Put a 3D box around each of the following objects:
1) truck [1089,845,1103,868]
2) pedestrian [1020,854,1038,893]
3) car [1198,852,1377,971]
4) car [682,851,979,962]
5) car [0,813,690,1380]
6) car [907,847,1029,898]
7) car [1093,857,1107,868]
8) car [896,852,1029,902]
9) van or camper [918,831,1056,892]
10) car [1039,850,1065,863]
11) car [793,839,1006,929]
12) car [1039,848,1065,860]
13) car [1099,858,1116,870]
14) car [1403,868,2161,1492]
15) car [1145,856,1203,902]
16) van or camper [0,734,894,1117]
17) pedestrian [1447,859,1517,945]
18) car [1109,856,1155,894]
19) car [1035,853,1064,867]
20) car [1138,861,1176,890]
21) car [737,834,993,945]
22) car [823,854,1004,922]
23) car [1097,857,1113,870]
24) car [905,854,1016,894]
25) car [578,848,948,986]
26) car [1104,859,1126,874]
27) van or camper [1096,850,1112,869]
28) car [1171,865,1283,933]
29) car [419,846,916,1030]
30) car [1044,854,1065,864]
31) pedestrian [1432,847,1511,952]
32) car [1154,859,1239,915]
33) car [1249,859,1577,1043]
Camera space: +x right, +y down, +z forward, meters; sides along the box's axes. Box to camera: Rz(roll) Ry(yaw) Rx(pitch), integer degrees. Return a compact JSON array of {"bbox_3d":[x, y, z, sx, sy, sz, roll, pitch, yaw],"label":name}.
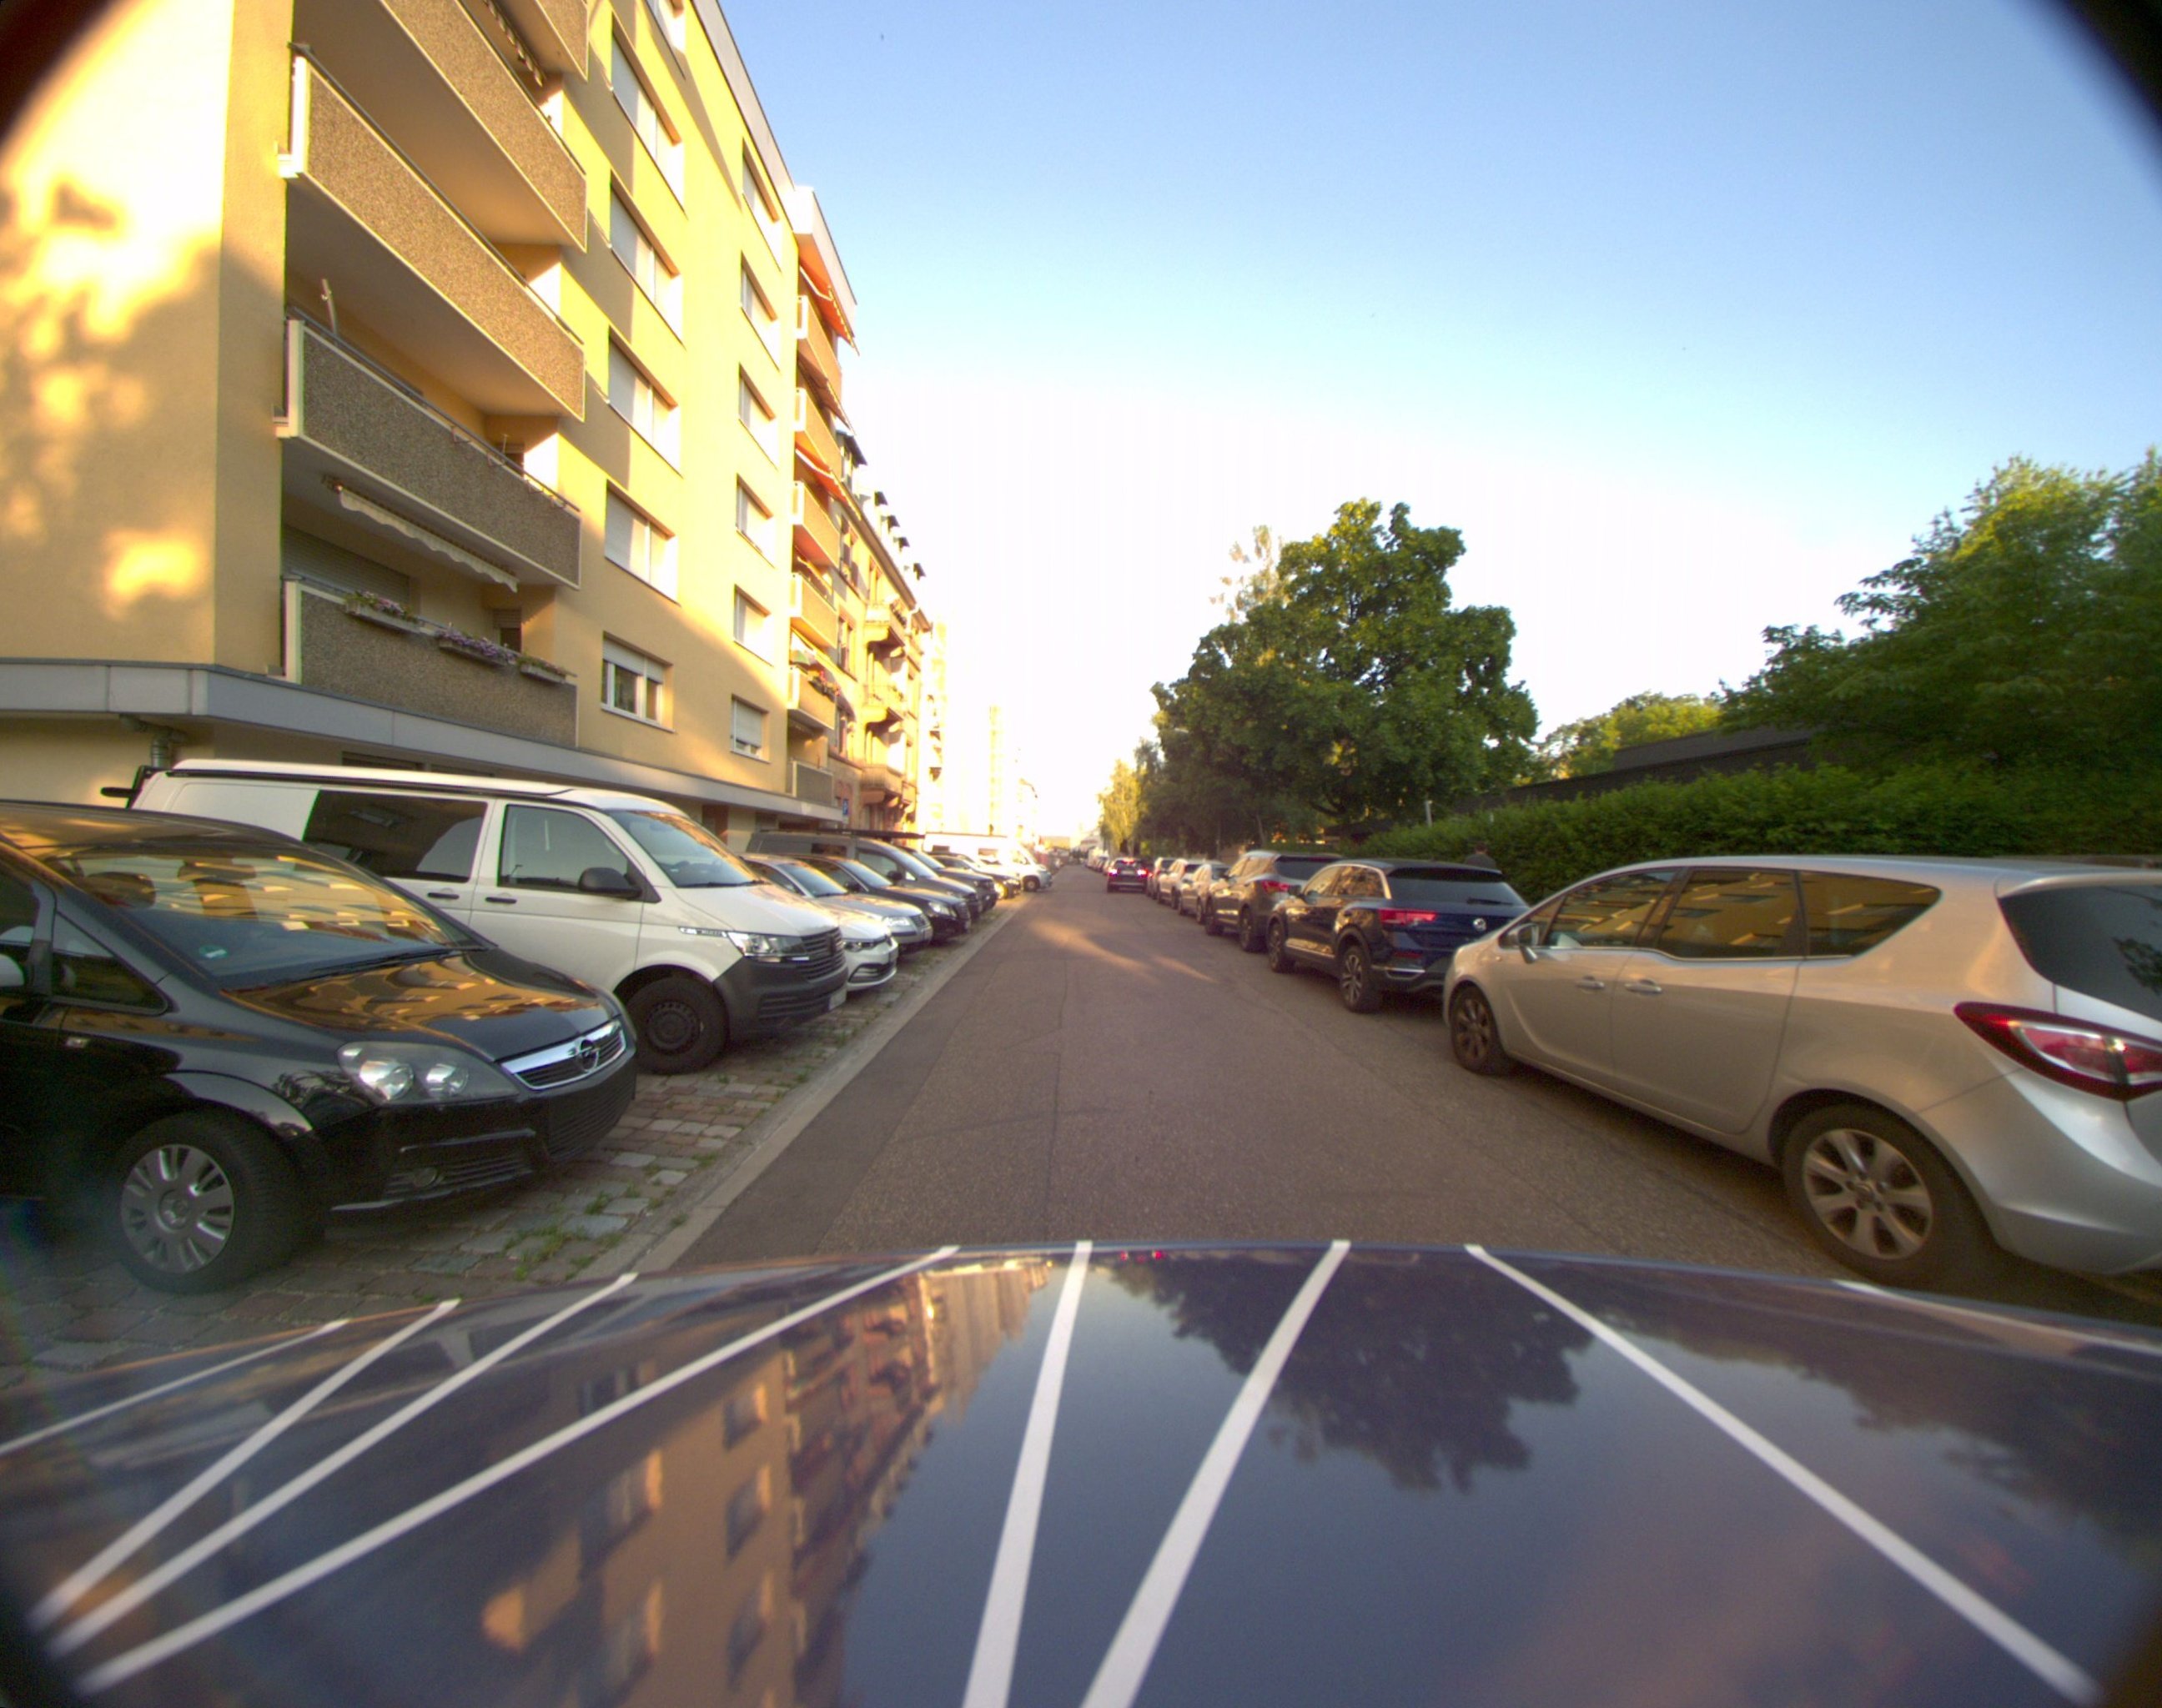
[{"bbox_3d":[2.565,0.436,128.541,2.183,3.860,4.926,0,0,0],"label":"truck"},{"bbox_3d":[-2.301,0.864,33.851,0.748,1.693,0.558,-2,1,-4],"label":"pedestrian"},{"bbox_3d":[3.431,0.869,13.523,1.738,1.720,4.321,2,0,-3],"label":"car"},{"bbox_3d":[-4.081,0.838,12.921,4.415,1.554,1.845,2,2,-1],"label":"car"},{"bbox_3d":[-4.318,0.717,3.205,4.338,1.652,1.780,3,2,-3],"label":"car"},{"bbox_3d":[-4.364,0.695,29.779,4.413,1.739,1.845,2,2,2],"label":"car"},{"bbox_3d":[2.752,1.207,110.600,1.738,1.502,4.291,2,0,-1],"label":"car"},{"bbox_3d":[-4.167,0.801,27.279,4.414,1.545,1.845,2,2,0],"label":"car"},{"bbox_3d":[-4.260,0.334,35.234,6.075,2.489,2.050,2,0,0],"label":"van or camper"},{"bbox_3d":[-4.470,0.316,117.943,3.997,2.002,2.000,0,0,-1],"label":"car"},{"bbox_3d":[-4.152,0.680,17.951,4.524,1.852,1.845,2,0,-1],"label":"car"},{"bbox_3d":[-4.587,0.000,121.095,3.997,2.002,2.000,0,0,-1],"label":"car"},{"bbox_3d":[3.083,1.179,89.925,1.738,1.358,4.291,2,0,-1],"label":"car"},{"bbox_3d":[3.588,0.916,4.066,1.738,1.558,4.128,2,0,-3],"label":"car"},{"bbox_3d":[3.525,0.923,29.505,1.738,1.621,3.980,2,0,0],"label":"car"},{"bbox_3d":[-4.353,0.492,5.988,5.147,2.155,2.039,4,1,-2],"label":"van or camper"},{"bbox_3d":[7.373,0.853,14.020,0.750,1.499,0.901,-2,0,-2],"label":"pedestrian"},{"bbox_3d":[2.423,0.930,35.175,1.736,1.621,4.129,2,0,9],"label":"car"},{"bbox_3d":[-4.467,0.844,106.894,3.997,2.002,2.000,0,0,-1],"label":"car"},{"bbox_3d":[4.011,1.106,40.605,1.624,1.417,3.415,2,0,0],"label":"car"},{"bbox_3d":[-4.262,0.664,15.535,4.649,1.970,1.845,2,2,-1],"label":"car"},{"bbox_3d":[-4.445,0.879,20.574,4.414,1.545,1.845,2,2,2],"label":"car"},{"bbox_3d":[3.002,1.181,95.745,1.738,1.502,4.291,2,0,-1],"label":"car"},{"bbox_3d":[-5.076,0.820,32.375,4.414,1.610,1.845,0,2,1],"label":"car"},{"bbox_3d":[-4.261,0.813,10.729,4.415,1.584,1.845,2,2,-1],"label":"car"},{"bbox_3d":[3.197,1.139,71.797,1.738,1.358,4.291,2,0,-1],"label":"car"},{"bbox_3d":[3.067,0.701,101.394,1.825,2.400,4.291,2,0,-1],"label":"van or camper"},{"bbox_3d":[3.540,1.051,19.212,1.738,1.418,4.285,2,0,-3],"label":"car"},{"bbox_3d":[-4.241,0.818,8.342,4.415,1.622,1.845,2,2,-1],"label":"car"},{"bbox_3d":[-5.187,1.060,150.365,3.997,2.002,2.000,0,0,-1],"label":"car"},{"bbox_3d":[6.707,0.759,13.080,0.901,1.722,0.750,-2,0,-2],"label":"pedestrian"},{"bbox_3d":[3.528,0.981,24.036,1.764,1.534,4.279,2,0,-3],"label":"car"},{"bbox_3d":[3.403,0.879,8.791,1.738,1.558,4.166,2,0,-3],"label":"car"}]
